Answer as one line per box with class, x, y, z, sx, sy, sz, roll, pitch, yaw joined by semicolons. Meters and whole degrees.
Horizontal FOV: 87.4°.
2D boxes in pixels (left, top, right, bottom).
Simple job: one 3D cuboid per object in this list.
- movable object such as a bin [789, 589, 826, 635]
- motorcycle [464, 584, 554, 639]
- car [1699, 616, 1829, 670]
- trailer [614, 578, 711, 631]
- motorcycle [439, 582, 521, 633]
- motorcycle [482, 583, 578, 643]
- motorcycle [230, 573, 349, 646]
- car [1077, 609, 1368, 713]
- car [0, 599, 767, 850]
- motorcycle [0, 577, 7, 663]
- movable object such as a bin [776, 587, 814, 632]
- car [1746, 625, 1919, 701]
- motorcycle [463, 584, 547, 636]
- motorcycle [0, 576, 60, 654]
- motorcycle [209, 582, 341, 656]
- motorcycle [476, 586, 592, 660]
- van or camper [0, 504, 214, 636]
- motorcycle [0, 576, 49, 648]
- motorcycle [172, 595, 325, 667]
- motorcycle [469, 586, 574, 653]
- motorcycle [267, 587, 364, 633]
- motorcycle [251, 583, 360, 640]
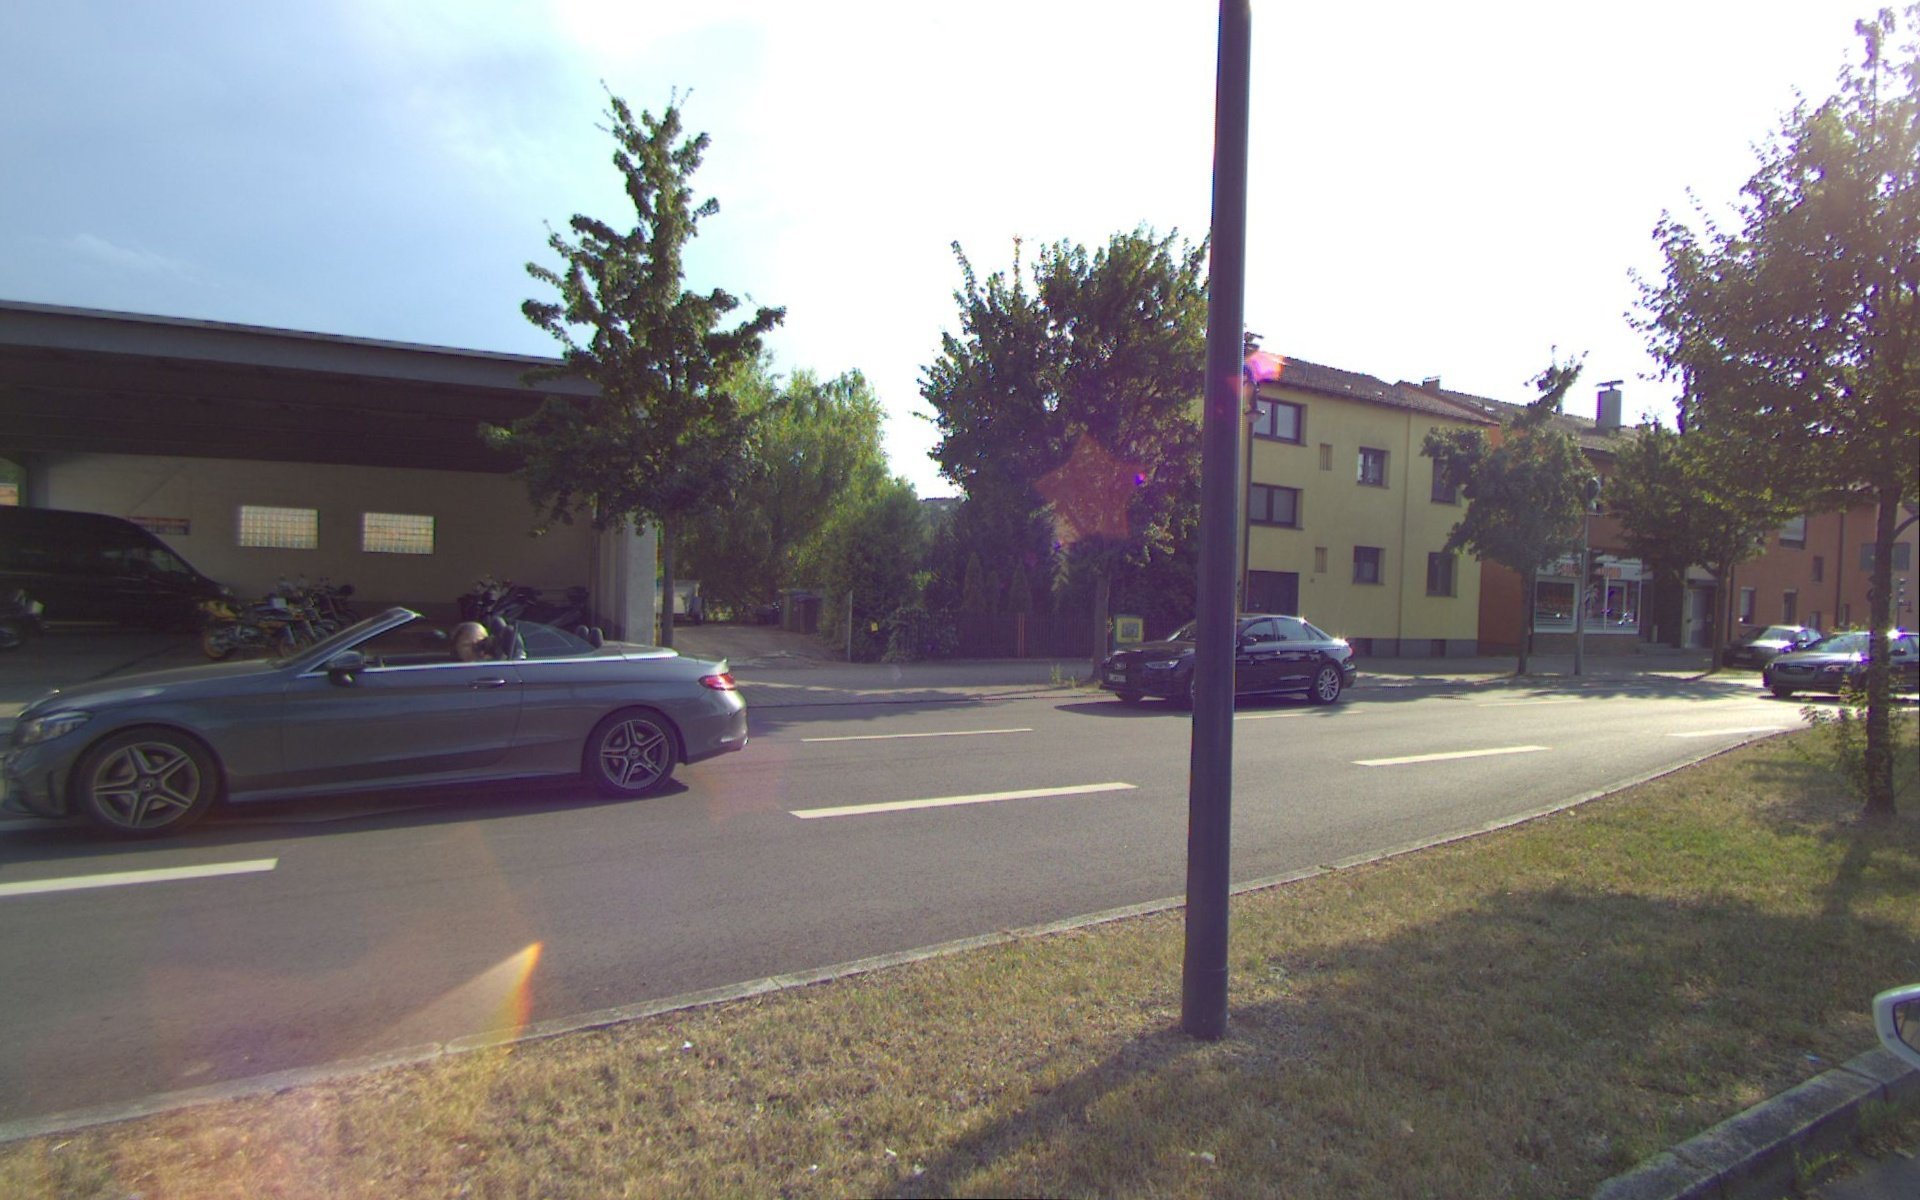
movable object such as a bin;-3.822;0.293;25.139;0.688;1.101;0.727;1;3;-30
motorcycle;-11.219;0.284;25.040;0.573;1.325;2.086;1;0;30
car;26.405;1.385;32.985;3.949;1.573;1.836;1;2;-27
trailer;-7.568;0.072;25.846;1.692;1.199;3.594;1;1;-5
motorcycle;-13.144;0.211;27.574;0.553;1.325;2.086;1;0;30
motorcycle;-9.971;0.303;23.371;0.612;1.325;2.086;1;0;30
motorcycle;-14.189;0.204;21.279;2.111;1.468;0.594;1;0;0
car;4.279;0.918;16.175;4.590;1.441;1.834;1;0;-30
car;-3.848;0.729;7.420;4.427;1.367;1.771;1;0;-31
motorcycle;-15.765;0.292;15.094;0.659;1.329;2.000;1;0;37
movable object such as a bin;-4.261;0.237;25.909;0.712;1.101;0.727;1;3;-30
car;18.556;1.270;20.695;4.122;1.405;1.644;1;0;-17
motorcycle;-12.055;0.256;26.663;0.553;1.325;2.086;1;0;30
motorcycle;-16.717;0.246;17.082;0.637;1.329;2.007;1;0;23
motorcycle;-13.003;0.353;19.098;2.111;1.347;0.563;1;0;0
motorcycle;-8.110;0.430;19.228;0.553;1.325;2.112;1;0;30
van or camper;-19.929;-0.621;22.325;1.963;2.716;5.033;1;0;26
motorcycle;-18.113;0.213;18.409;0.637;1.329;2.007;1;0;23
motorcycle;-11.950;0.509;16.899;2.111;1.139;0.631;1;0;0
motorcycle;-9.183;0.404;21.120;0.553;1.325;2.086;1;0;30
motorcycle;-16.577;0.251;25.839;2.111;1.138;0.563;1;0;0
motorcycle;-15.311;0.271;23.531;2.111;1.275;0.647;1;0;0
